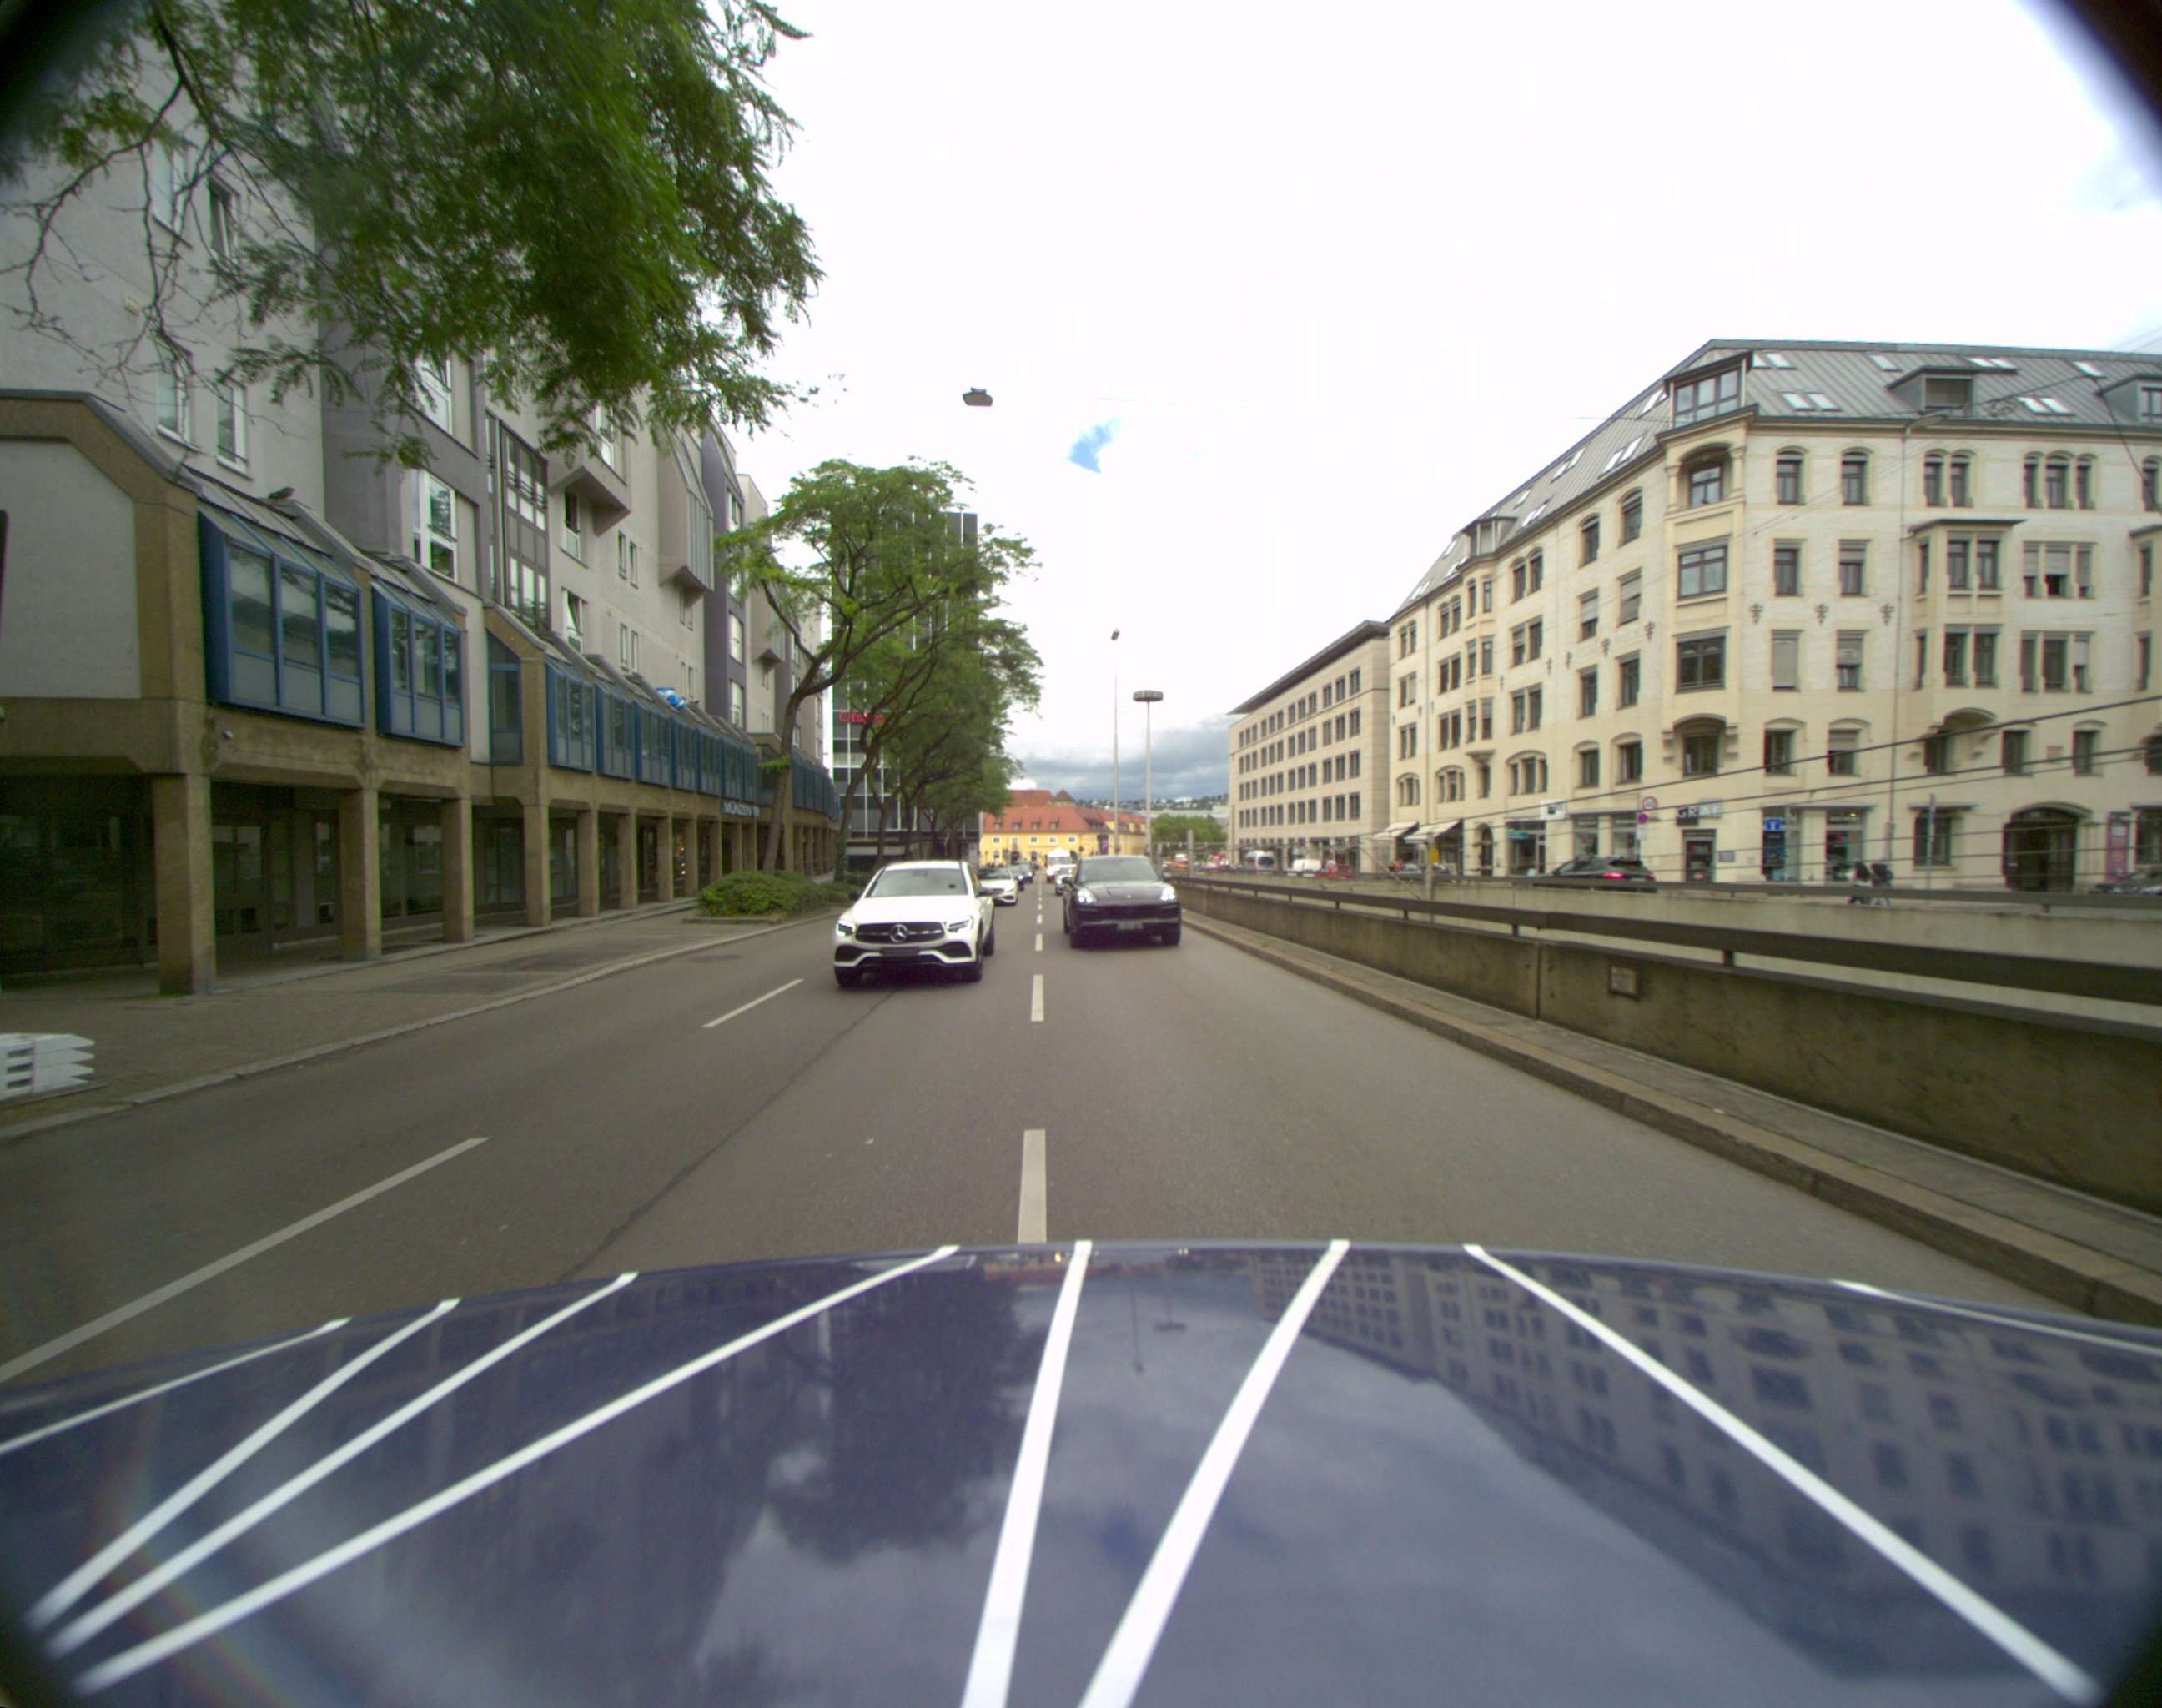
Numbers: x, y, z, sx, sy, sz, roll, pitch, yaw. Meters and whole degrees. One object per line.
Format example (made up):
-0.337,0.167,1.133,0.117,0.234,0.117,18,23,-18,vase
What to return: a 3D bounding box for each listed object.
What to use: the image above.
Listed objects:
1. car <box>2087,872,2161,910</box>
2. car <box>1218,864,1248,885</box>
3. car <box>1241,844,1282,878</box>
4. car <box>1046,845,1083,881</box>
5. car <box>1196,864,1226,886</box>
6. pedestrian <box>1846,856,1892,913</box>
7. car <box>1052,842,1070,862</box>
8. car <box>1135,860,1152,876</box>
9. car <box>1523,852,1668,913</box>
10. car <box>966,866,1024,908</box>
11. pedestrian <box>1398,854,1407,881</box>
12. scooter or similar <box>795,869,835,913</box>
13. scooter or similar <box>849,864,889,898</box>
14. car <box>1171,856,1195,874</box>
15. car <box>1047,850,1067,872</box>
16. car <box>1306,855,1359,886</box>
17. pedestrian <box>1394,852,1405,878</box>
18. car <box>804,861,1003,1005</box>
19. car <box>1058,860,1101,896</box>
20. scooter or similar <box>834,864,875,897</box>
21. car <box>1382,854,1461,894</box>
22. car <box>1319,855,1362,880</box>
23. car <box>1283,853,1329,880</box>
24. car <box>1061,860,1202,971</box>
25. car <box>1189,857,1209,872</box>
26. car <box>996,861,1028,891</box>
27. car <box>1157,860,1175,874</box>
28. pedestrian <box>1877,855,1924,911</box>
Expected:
37.384,1.252,26.281,3.600,1.227,1.649,0,0,-9,car
16.299,2.164,81.721,1.999,2.002,4.789,-2,0,-2,car
17.273,0.648,73.025,2.370,3.043,5.468,-2,0,-2,car
-1.248,0.666,60.331,2.294,2.723,4.755,-2,0,5,car
13.460,2.147,78.837,1.999,2.002,4.789,-2,0,-2,car
24.079,0.910,23.214,0.712,1.701,0.687,-1,0,-13,pedestrian
-2.865,-0.260,110.698,2.503,2.793,5.727,-2,0,-1,car
8.584,1.894,104.201,1.999,2.002,4.000,0,0,-1,car
19.000,0.983,28.400,1.999,2.002,4.789,-2,0,-2,car
-3.266,1.222,29.773,1.890,1.378,4.609,-2,0,-2,car
20.828,0.876,49.290,0.510,1.769,0.578,-1,1,22,pedestrian
-9.017,1.250,25.764,1.180,1.425,0.577,-2,1,24,scooter or similar
-9.499,1.194,34.048,1.536,1.425,0.686,-2,1,-33,scooter or similar
12.592,1.364,94.340,2.115,2.002,4.789,-2,0,-2,car
-3.220,0.901,103.181,2.503,2.793,5.727,-2,0,-1,car
17.965,1.115,54.453,1.999,2.002,4.789,-2,0,-2,car
22.198,0.781,52.964,0.576,1.769,0.511,-1,1,5,pedestrian
-2.313,0.959,11.055,2.060,1.599,3.926,-2,0,-2,car
-0.117,1.126,37.277,1.950,1.521,3.999,-2,0,-2,car
-10.494,1.209,35.200,1.600,1.425,0.730,-2,1,-33,scooter or similar
18.696,1.032,41.995,1.999,2.002,4.789,-2,0,-2,car
21.360,1.082,62.678,1.999,2.002,3.999,0,0,-2,car
17.909,0.971,60.725,1.999,2.002,4.789,-2,0,-2,car
0.722,0.980,14.572,2.088,1.665,5.351,-2,0,-2,car
15.554,1.360,100.608,1.999,2.002,4.000,0,0,-1,car
-4.101,1.292,45.529,1.640,1.602,3.659,-2,0,-2,car
12.328,1.828,110.332,1.999,2.002,4.000,0,0,-1,car
25.089,0.876,23.271,0.712,1.701,0.687,-1,0,-13,pedestrian
